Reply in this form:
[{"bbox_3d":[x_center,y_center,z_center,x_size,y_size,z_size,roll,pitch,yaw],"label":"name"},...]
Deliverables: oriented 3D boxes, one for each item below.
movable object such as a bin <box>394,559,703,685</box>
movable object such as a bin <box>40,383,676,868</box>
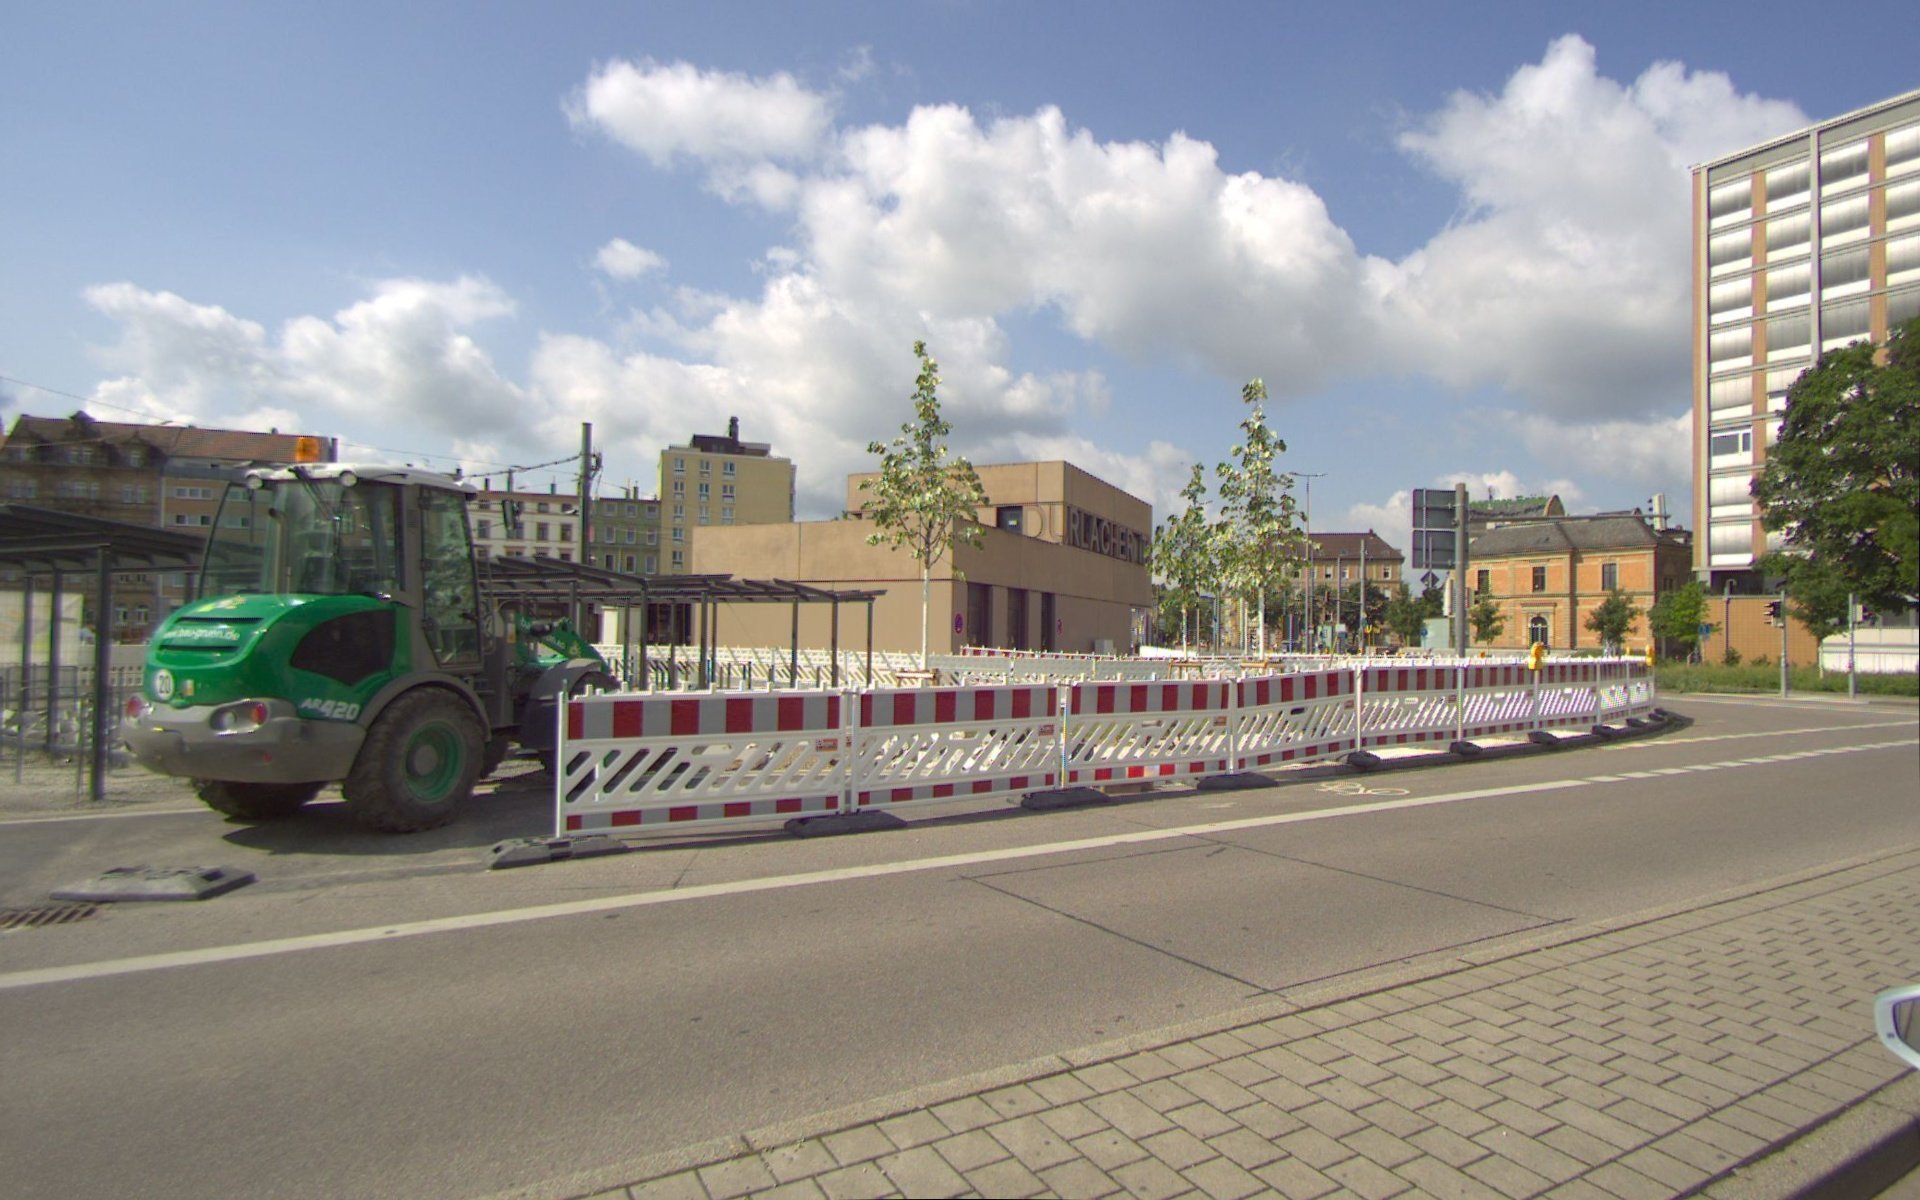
[{"bbox_3d":[-12.797,0.793,32.596,2.965,3.468,9.678,0,-2,27],"label":"movable object such as a bin"},{"bbox_3d":[-4.554,0.239,8.600,1.960,2.988,4.453,0,-2,17],"label":"movable object such as a bin"}]
